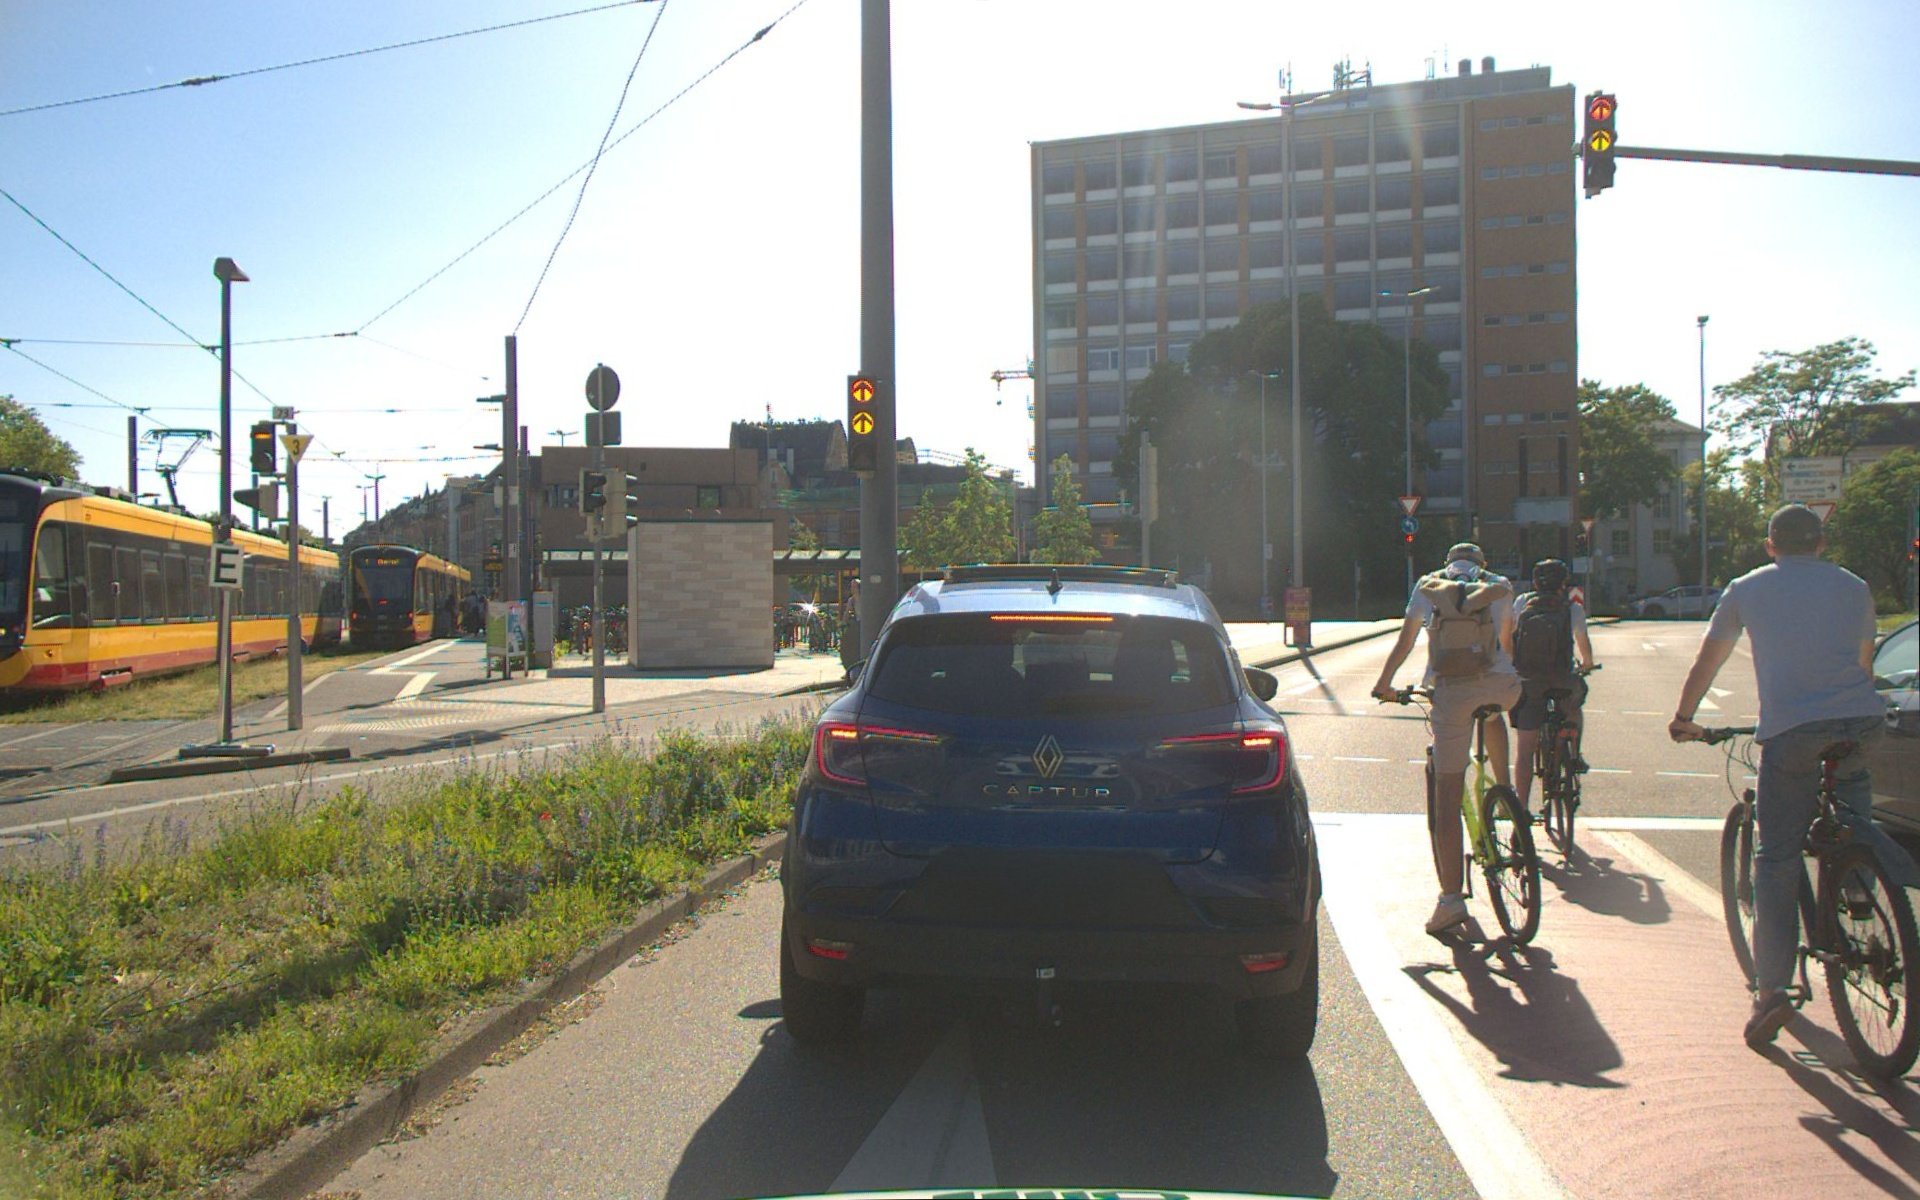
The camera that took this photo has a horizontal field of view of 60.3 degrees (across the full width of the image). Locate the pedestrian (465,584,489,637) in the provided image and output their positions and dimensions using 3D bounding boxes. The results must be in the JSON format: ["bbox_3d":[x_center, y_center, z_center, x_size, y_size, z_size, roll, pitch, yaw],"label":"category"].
[{"bbox_3d":[-17.814,0.392,61.047,0.833,1.916,0.757,1,-1,-16],"label":"pedestrian"}]

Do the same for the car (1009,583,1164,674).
[{"bbox_3d":[2.378,0.476,30.131,1.762,1.417,4.095,-1,2,20],"label":"car"}]

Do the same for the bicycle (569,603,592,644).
[{"bbox_3d":[-10.484,0.662,45.733,0.556,1.112,2.023,1,-1,-11],"label":"bicycle"}]

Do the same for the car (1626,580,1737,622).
[{"bbox_3d":[31.828,0.057,73.058,4.146,1.596,1.825,-3,-4,13],"label":"car"}]

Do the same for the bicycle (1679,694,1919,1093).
[{"bbox_3d":[3.066,0.938,5.890,0.598,1.096,1.831,0,0,13],"label":"bicycle"}]

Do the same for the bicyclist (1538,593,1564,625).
[{"bbox_3d":[34.230,0.529,95.740,1.137,1.829,0.881,1,-1,-14],"label":"bicyclist"}]

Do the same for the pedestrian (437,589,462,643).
[{"bbox_3d":[-18.544,0.583,60.130,0.833,1.916,0.757,1,-1,-16],"label":"pedestrian"}]

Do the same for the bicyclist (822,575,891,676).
[{"bbox_3d":[-1.738,0.430,28.024,0.861,1.673,1.061,-1,-1,13],"label":"bicyclist"}]

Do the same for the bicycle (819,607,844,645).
[{"bbox_3d":[-3.782,0.775,48.690,0.570,1.107,2.054,1,-1,-9],"label":"bicycle"}]

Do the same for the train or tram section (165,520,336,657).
[{"bbox_3d":[-20.647,-0.289,48.831,2.768,3.569,11.170,0,0,-14],"label":"train or tram section"}]

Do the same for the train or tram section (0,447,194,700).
[{"bbox_3d":[-15.574,-0.349,28.129,2.771,3.569,10.437,-1,0,-15],"label":"train or tram section"}]

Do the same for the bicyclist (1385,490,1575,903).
[{"bbox_3d":[2.379,0.415,7.666,0.649,1.778,1.006,0,0,6],"label":"bicyclist"}]

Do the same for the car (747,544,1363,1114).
[{"bbox_3d":[0.423,0.654,6.675,1.785,1.628,3.661,1,0,5],"label":"car"}]

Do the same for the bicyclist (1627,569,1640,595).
[{"bbox_3d":[39.760,-1.063,97.627,0.606,1.469,0.818,-1,0,29],"label":"bicyclist"}]

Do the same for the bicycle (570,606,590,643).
[{"bbox_3d":[-11.948,0.774,52.018,0.556,1.112,2.023,1,-1,-11],"label":"bicycle"}]

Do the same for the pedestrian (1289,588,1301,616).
[{"bbox_3d":[20.246,0.124,99.852,0.551,1.699,0.474,-1,-2,36],"label":"pedestrian"}]

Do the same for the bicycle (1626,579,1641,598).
[{"bbox_3d":[39.790,-0.680,97.669,0.597,1.112,1.669,-1,0,29],"label":"bicycle"}]

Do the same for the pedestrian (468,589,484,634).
[{"bbox_3d":[-20.561,0.487,70.240,0.623,1.889,0.699,1,-1,-20],"label":"pedestrian"}]

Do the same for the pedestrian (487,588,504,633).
[{"bbox_3d":[-19.915,0.453,70.854,0.621,1.889,0.701,1,-1,-11],"label":"pedestrian"}]

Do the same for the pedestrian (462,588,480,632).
[{"bbox_3d":[-21.111,0.455,71.368,0.620,1.889,0.701,1,-1,-9],"label":"pedestrian"}]

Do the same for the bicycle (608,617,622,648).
[{"bbox_3d":[-10.949,1.015,52.465,0.414,0.954,1.375,1,0,-12],"label":"bicycle"}]

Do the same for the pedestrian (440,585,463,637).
[{"bbox_3d":[-18.697,0.405,60.853,0.779,1.889,0.603,1,-1,-16],"label":"pedestrian"}]

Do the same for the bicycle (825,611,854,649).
[{"bbox_3d":[-3.134,0.785,43.057,0.570,0.978,2.054,1,-1,-9],"label":"bicycle"}]

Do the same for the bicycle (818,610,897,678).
[{"bbox_3d":[-1.716,0.730,28.017,0.756,1.099,2.037,-1,-1,13],"label":"bicycle"}]

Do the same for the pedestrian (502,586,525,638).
[{"bbox_3d":[-16.801,0.454,62.242,0.833,1.916,0.757,1,-1,-16],"label":"pedestrian"}]

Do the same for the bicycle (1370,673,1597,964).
[{"bbox_3d":[2.377,0.934,7.719,0.648,1.065,1.892,0,1,6],"label":"bicycle"}]

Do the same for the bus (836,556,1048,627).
[{"bbox_3d":[-1.128,-0.354,86.657,12.212,3.455,2.867,-1,-2,40],"label":"bus"}]

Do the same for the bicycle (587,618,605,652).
[{"bbox_3d":[-10.443,0.999,47.451,0.415,0.954,1.300,1,0,-15],"label":"bicycle"}]

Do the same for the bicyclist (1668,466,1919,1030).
[{"bbox_3d":[2.994,0.473,5.837,0.733,1.807,1.015,0,0,13],"label":"bicyclist"}]

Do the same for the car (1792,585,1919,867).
[{"bbox_3d":[6.247,0.710,9.385,1.718,1.568,3.662,1,0,10],"label":"car"}]

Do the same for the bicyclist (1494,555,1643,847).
[{"bbox_3d":[3.647,0.570,9.987,0.706,1.654,1.056,1,0,13],"label":"bicyclist"}]

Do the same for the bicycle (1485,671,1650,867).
[{"bbox_3d":[3.651,0.970,10.075,0.707,0.976,1.885,1,0,13],"label":"bicycle"}]

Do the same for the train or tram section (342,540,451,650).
[{"bbox_3d":[-19.867,-0.148,58.821,2.823,3.569,10.502,0,0,-14],"label":"train or tram section"}]

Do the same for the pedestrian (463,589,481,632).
[{"bbox_3d":[-21.364,0.474,72.427,0.688,1.889,0.632,1,-1,-12],"label":"pedestrian"}]

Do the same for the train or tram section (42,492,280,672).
[{"bbox_3d":[-18.142,-0.349,38.377,2.768,3.569,10.573,0,0,-14],"label":"train or tram section"}]

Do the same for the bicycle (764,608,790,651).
[{"bbox_3d":[-4.728,0.766,42.570,0.570,1.076,1.812,1,-1,-9],"label":"bicycle"}]

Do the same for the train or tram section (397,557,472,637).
[{"bbox_3d":[-25.017,-0.159,79.167,2.823,3.569,10.502,0,0,-14],"label":"train or tram section"}]

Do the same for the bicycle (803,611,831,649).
[{"bbox_3d":[-3.734,0.780,42.960,0.570,0.978,2.054,1,-1,-9],"label":"bicycle"}]

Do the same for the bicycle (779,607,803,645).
[{"bbox_3d":[-4.967,0.766,48.601,0.570,1.107,2.054,1,-1,-9],"label":"bicycle"}]

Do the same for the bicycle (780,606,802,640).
[{"bbox_3d":[-5.739,0.782,56.063,0.570,1.107,1.866,1,-1,-11],"label":"bicycle"}]

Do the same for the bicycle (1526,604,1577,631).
[{"bbox_3d":[34.224,1.018,95.737,2.754,1.568,0.881,1,-1,-14],"label":"bicycle"}]

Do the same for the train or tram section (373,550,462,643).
[{"bbox_3d":[-22.458,-0.143,68.963,2.823,3.569,10.502,0,0,-14],"label":"train or tram section"}]
